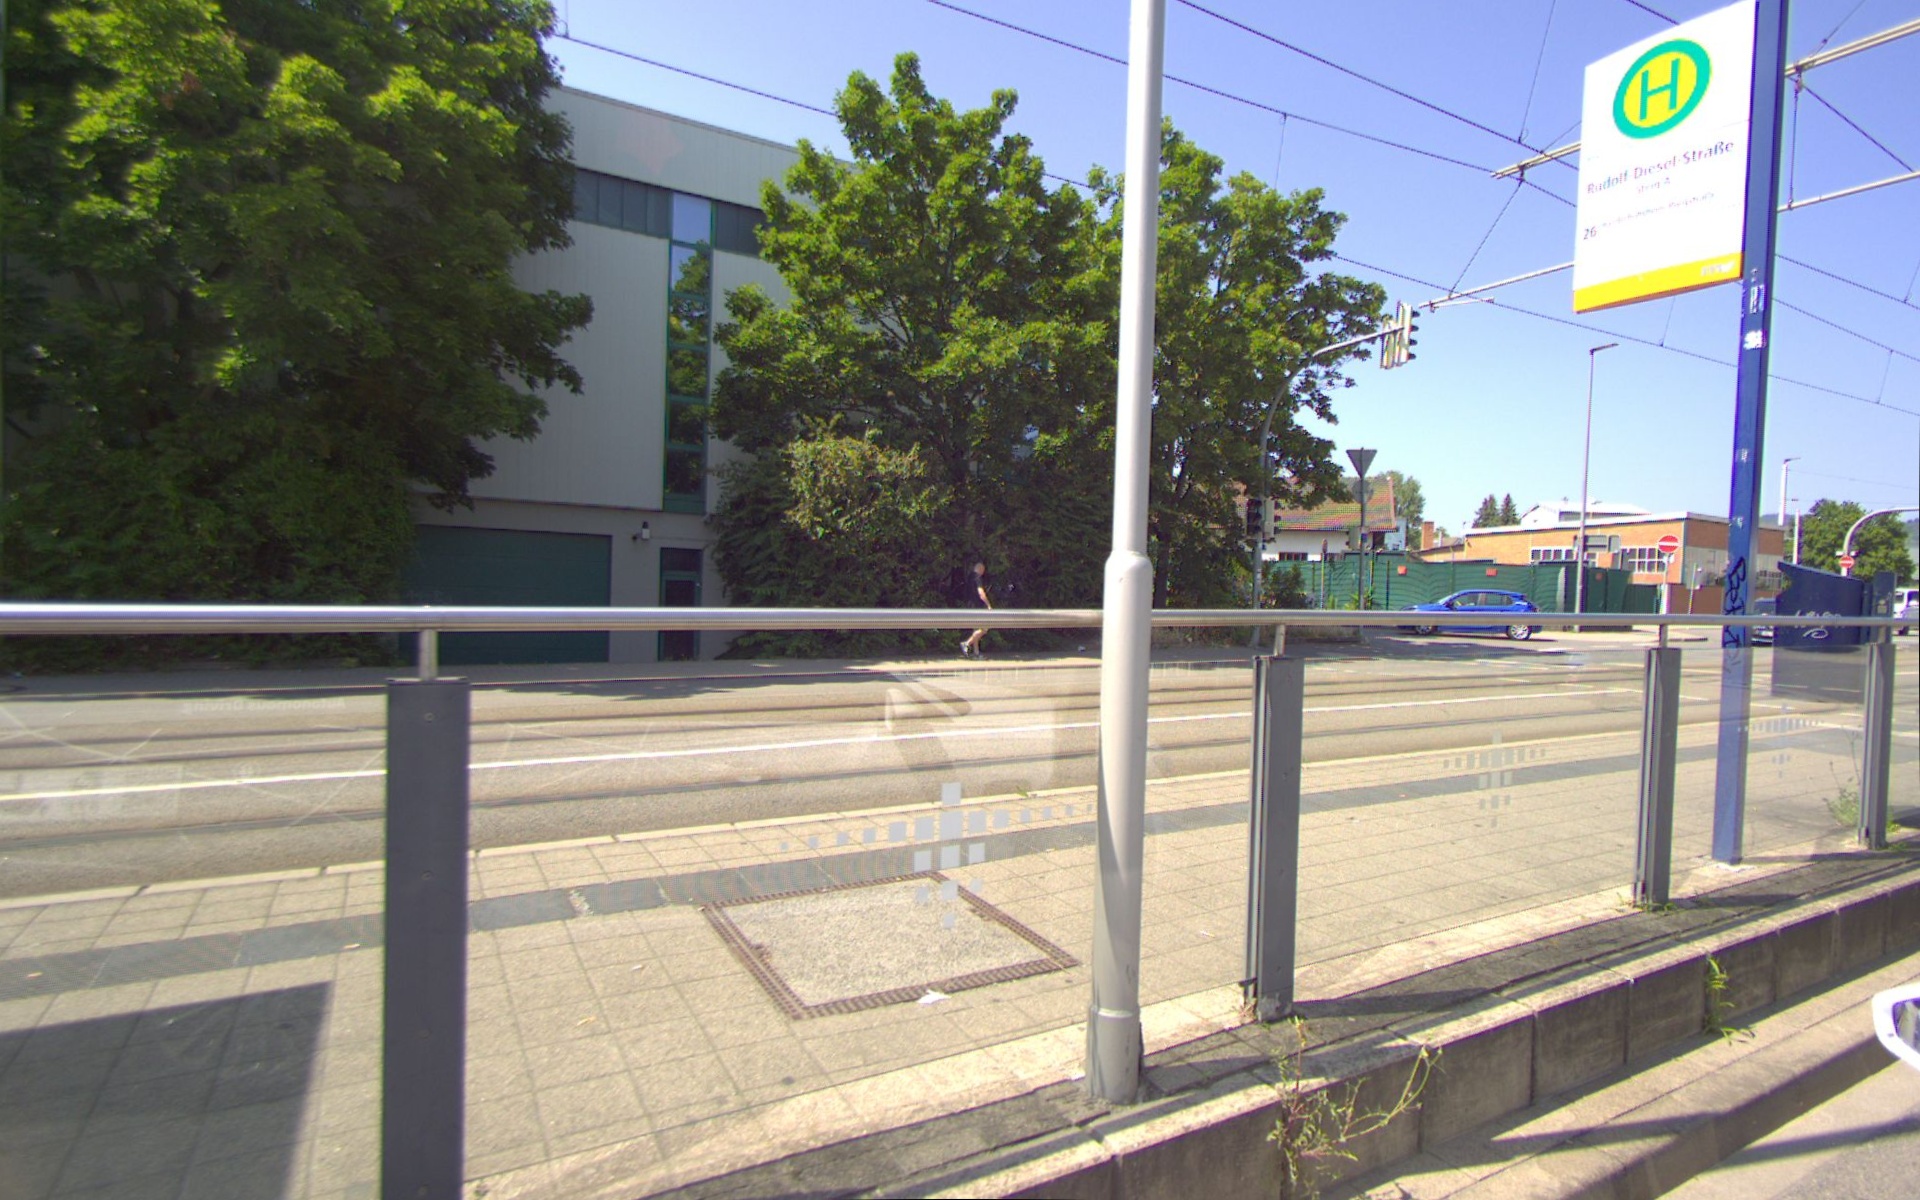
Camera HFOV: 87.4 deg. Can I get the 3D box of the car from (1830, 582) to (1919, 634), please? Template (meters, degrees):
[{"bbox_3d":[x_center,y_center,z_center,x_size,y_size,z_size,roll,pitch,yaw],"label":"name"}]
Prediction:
[{"bbox_3d":[39.332,0.353,42.793,4.965,2.040,2.149,2,1,-34],"label":"car"}]

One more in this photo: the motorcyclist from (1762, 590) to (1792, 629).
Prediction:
[{"bbox_3d":[32.113,0.362,39.498,0.825,1.495,0.959,3,1,38],"label":"motorcyclist"}]

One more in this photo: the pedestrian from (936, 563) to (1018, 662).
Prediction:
[{"bbox_3d":[0.300,0.211,17.769,1.146,1.693,0.881,0,1,-31],"label":"pedestrian"}]

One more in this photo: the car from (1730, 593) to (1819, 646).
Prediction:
[{"bbox_3d":[25.313,0.538,31.153,1.885,1.461,4.570,3,2,42],"label":"car"}]

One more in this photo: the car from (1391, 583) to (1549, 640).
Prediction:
[{"bbox_3d":[15.391,0.305,30.551,4.081,1.557,1.805,2,2,21],"label":"car"}]
